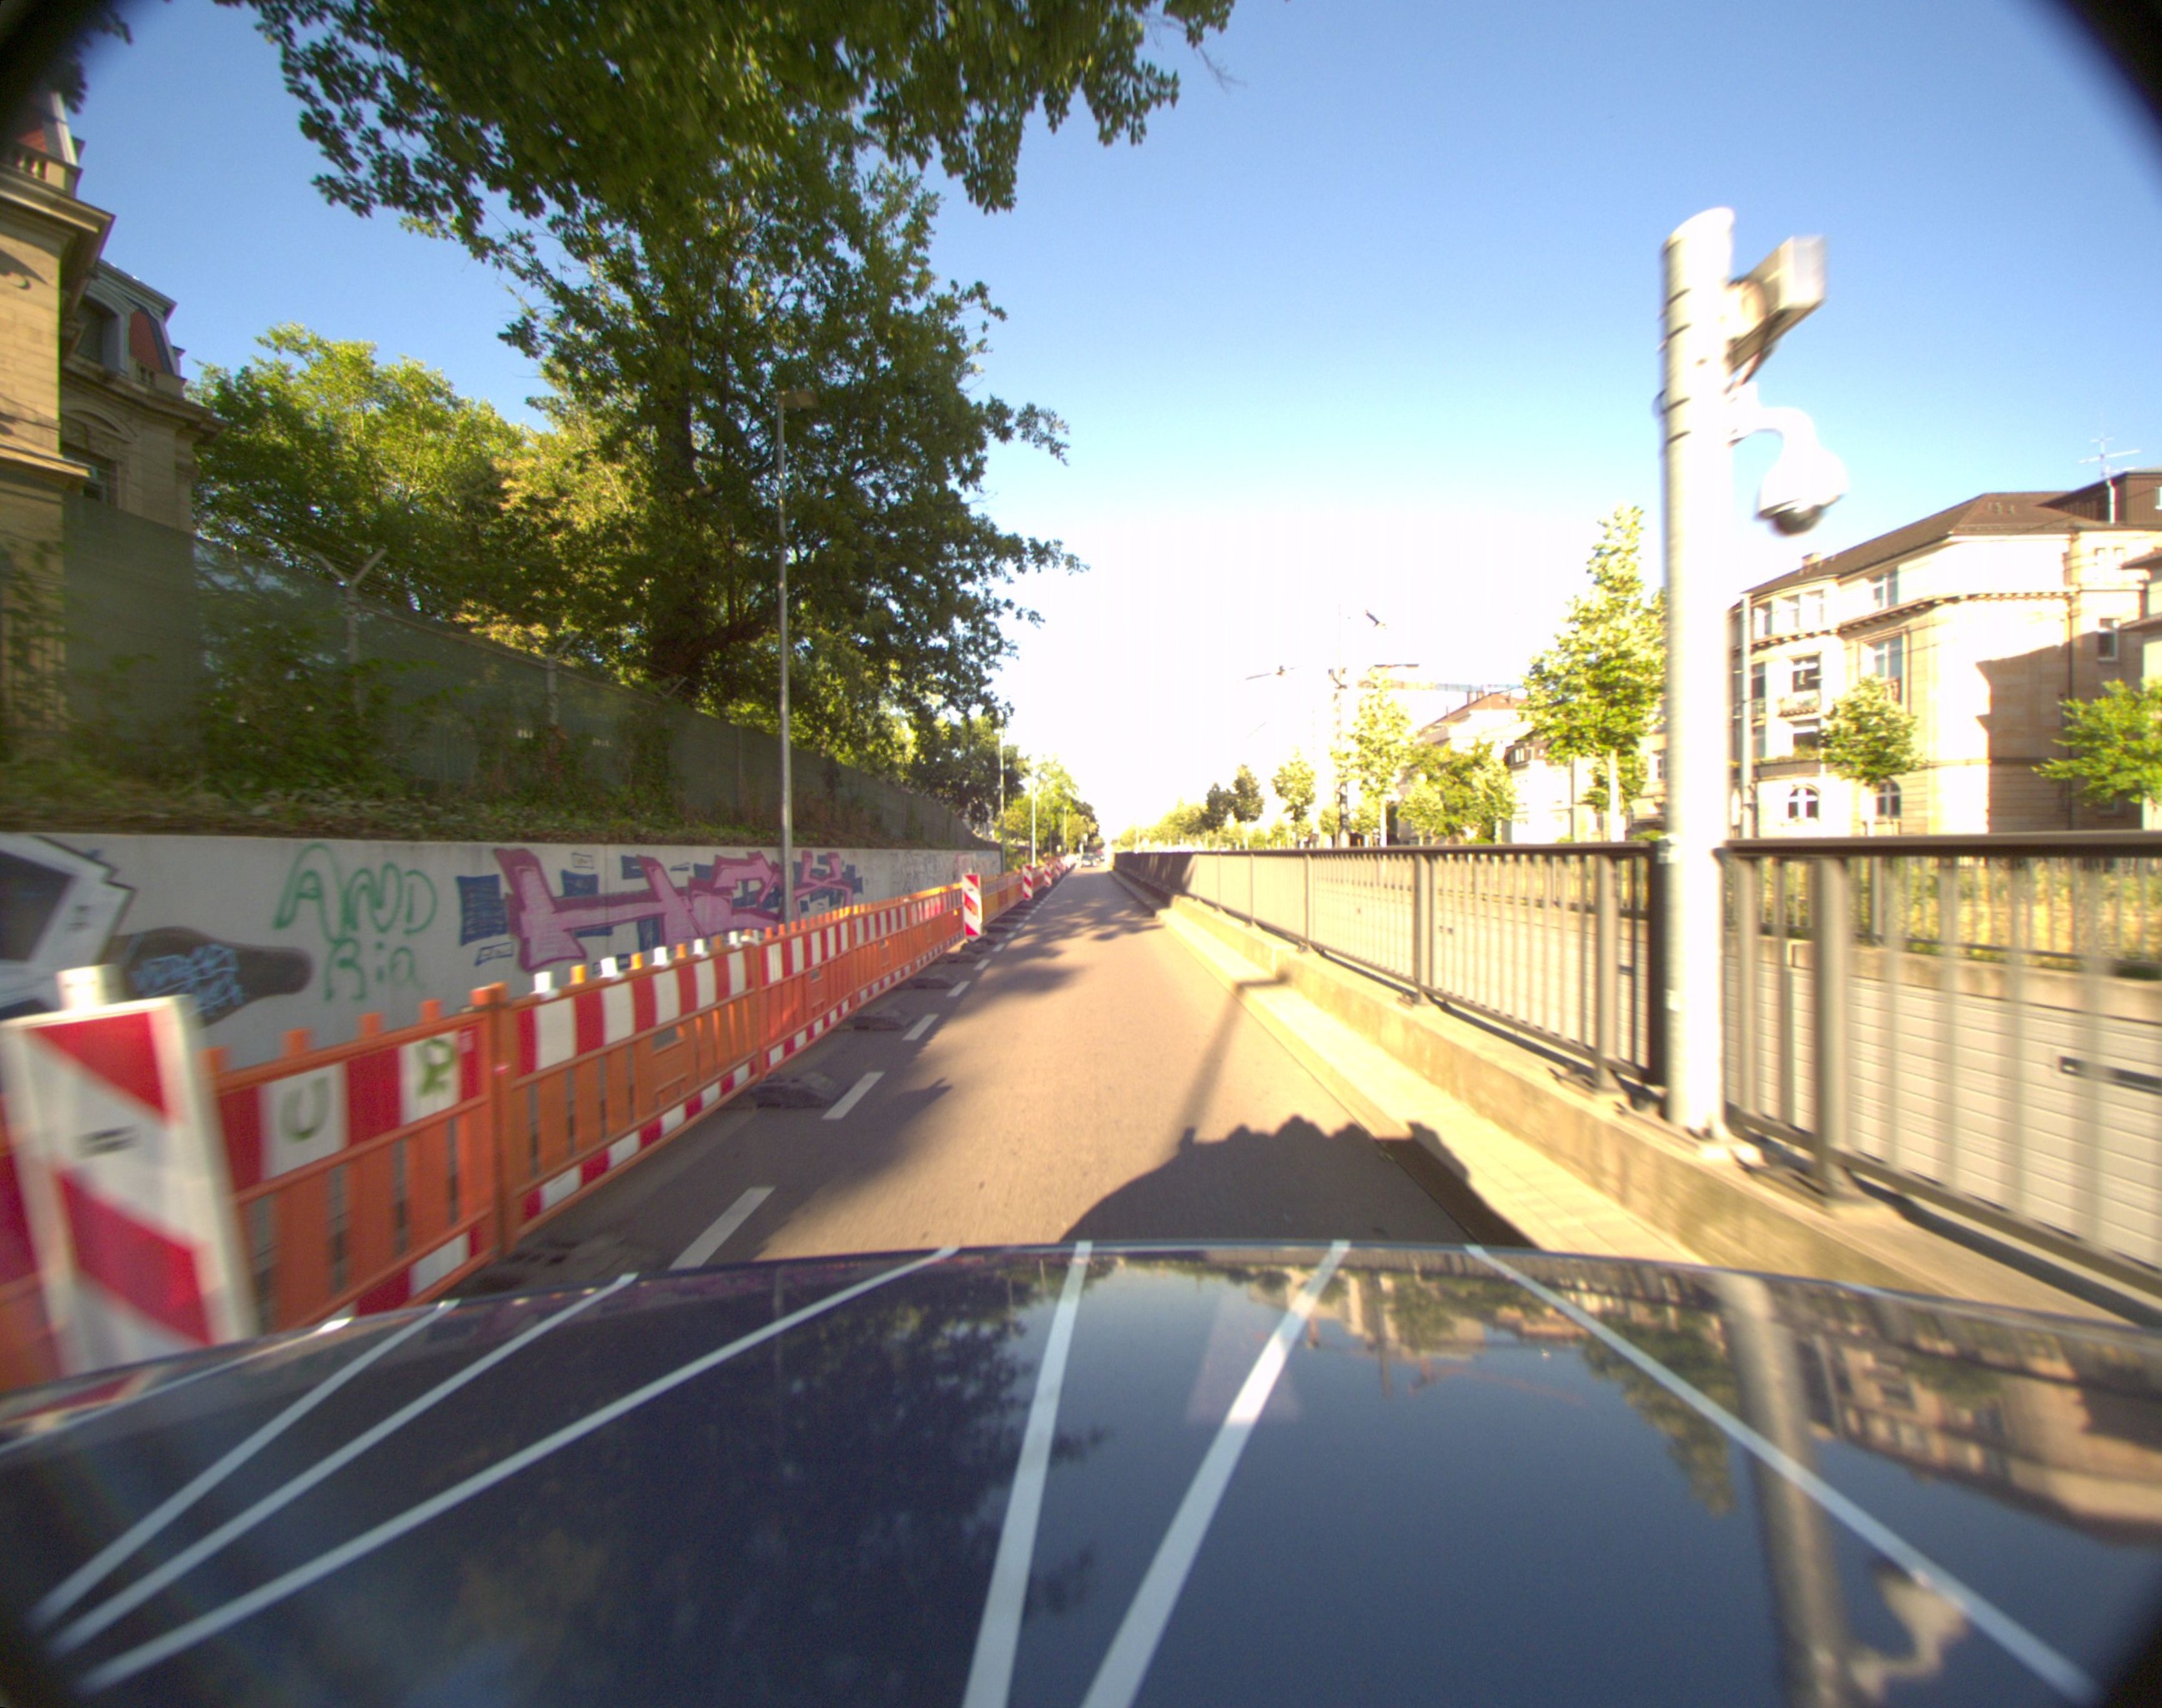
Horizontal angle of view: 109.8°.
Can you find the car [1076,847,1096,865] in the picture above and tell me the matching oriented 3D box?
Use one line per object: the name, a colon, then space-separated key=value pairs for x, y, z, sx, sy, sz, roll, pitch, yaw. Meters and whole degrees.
car: x=0.566 y=0.192 z=82.006 sx=2.080 sy=1.827 sz=4.000 roll=-1 pitch=1 yaw=1
